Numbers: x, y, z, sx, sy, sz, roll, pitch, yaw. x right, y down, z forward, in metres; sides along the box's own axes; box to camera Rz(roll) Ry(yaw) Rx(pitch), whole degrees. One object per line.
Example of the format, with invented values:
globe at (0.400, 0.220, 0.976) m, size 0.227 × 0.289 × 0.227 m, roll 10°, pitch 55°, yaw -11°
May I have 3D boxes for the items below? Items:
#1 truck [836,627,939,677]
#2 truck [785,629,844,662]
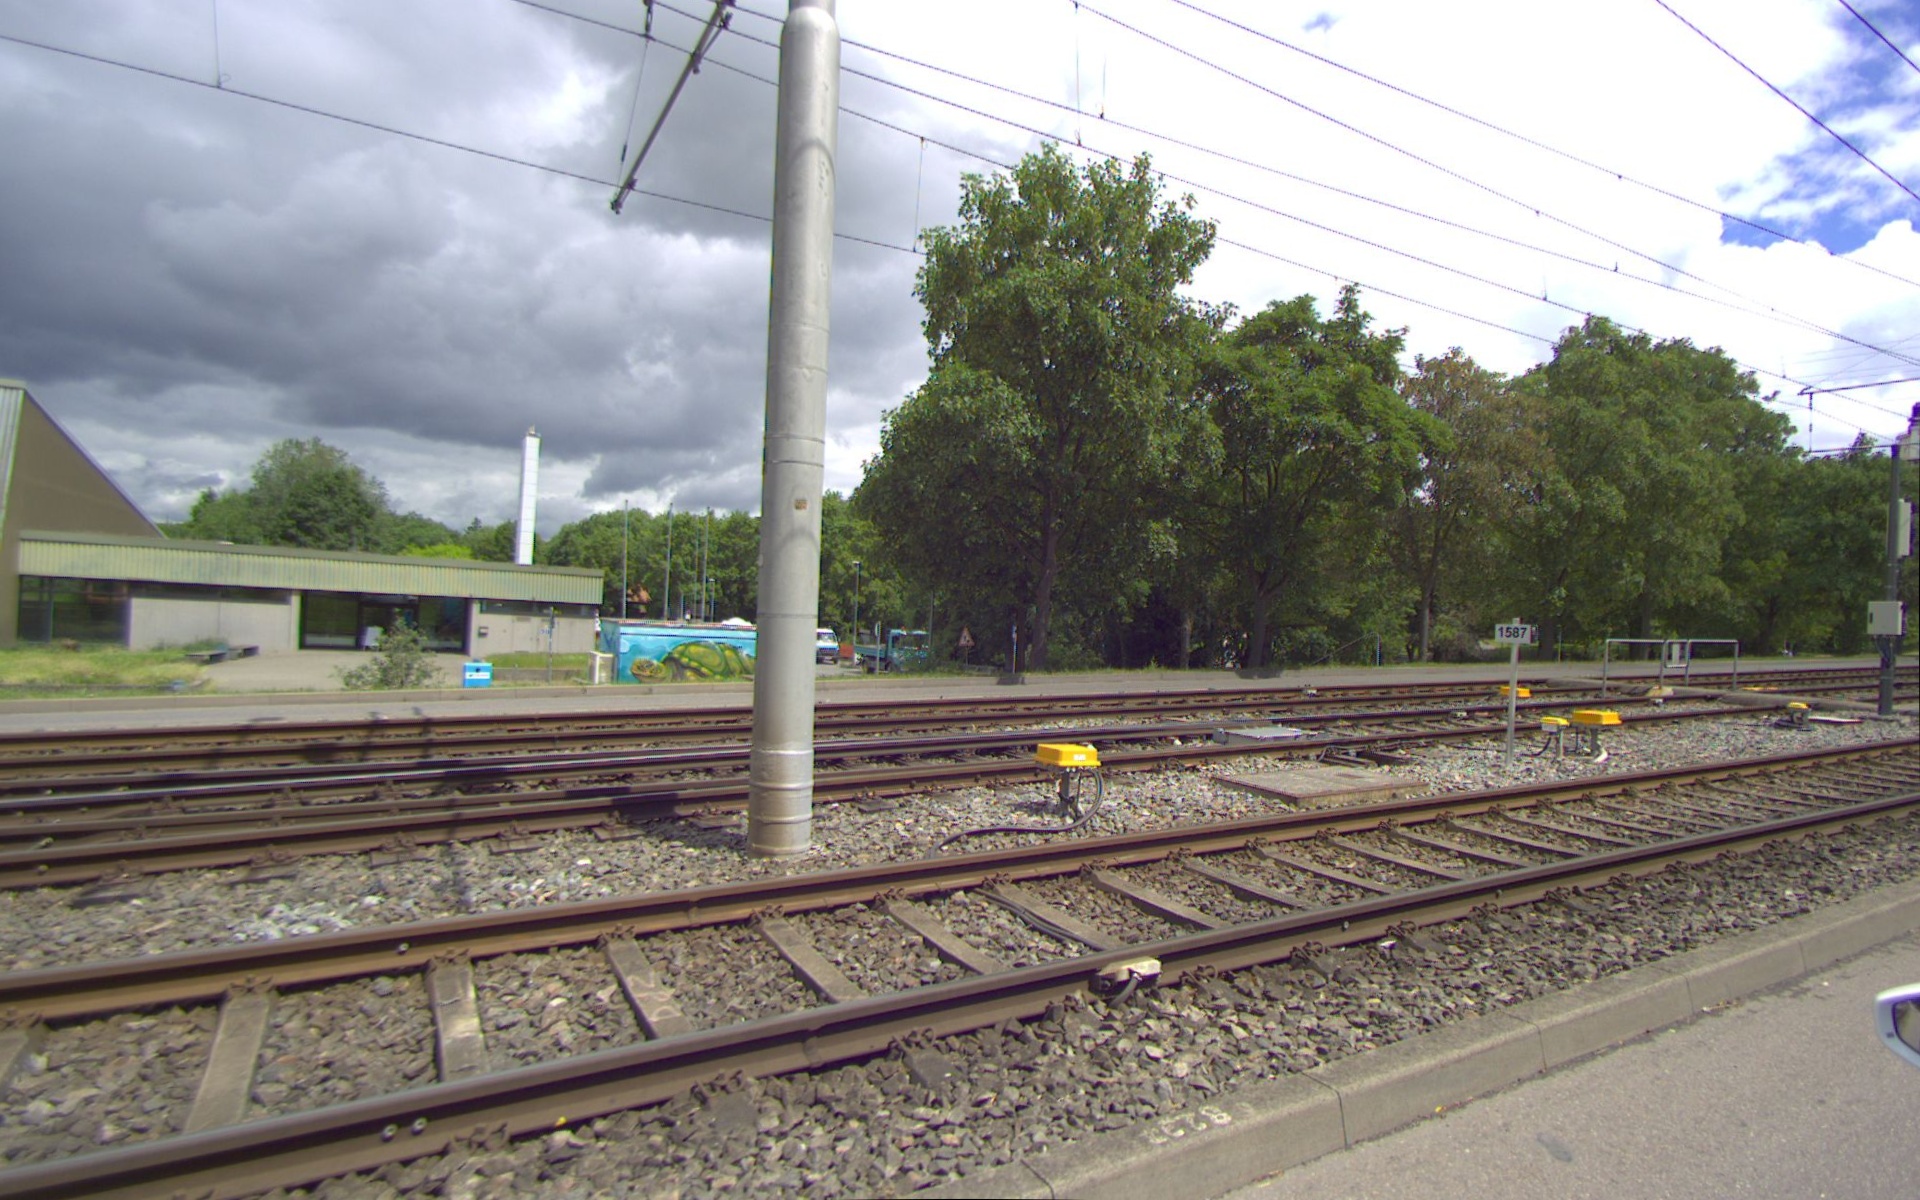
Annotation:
truck at (-4.425, 2.956, 58.941) m, size 2.583 × 2.731 × 9.052 m, roll 1°, pitch -2°, yaw -28°
truck at (-10.141, 3.122, 69.551) m, size 1.977 × 2.207 × 5.799 m, roll 1°, pitch -2°, yaw -31°
